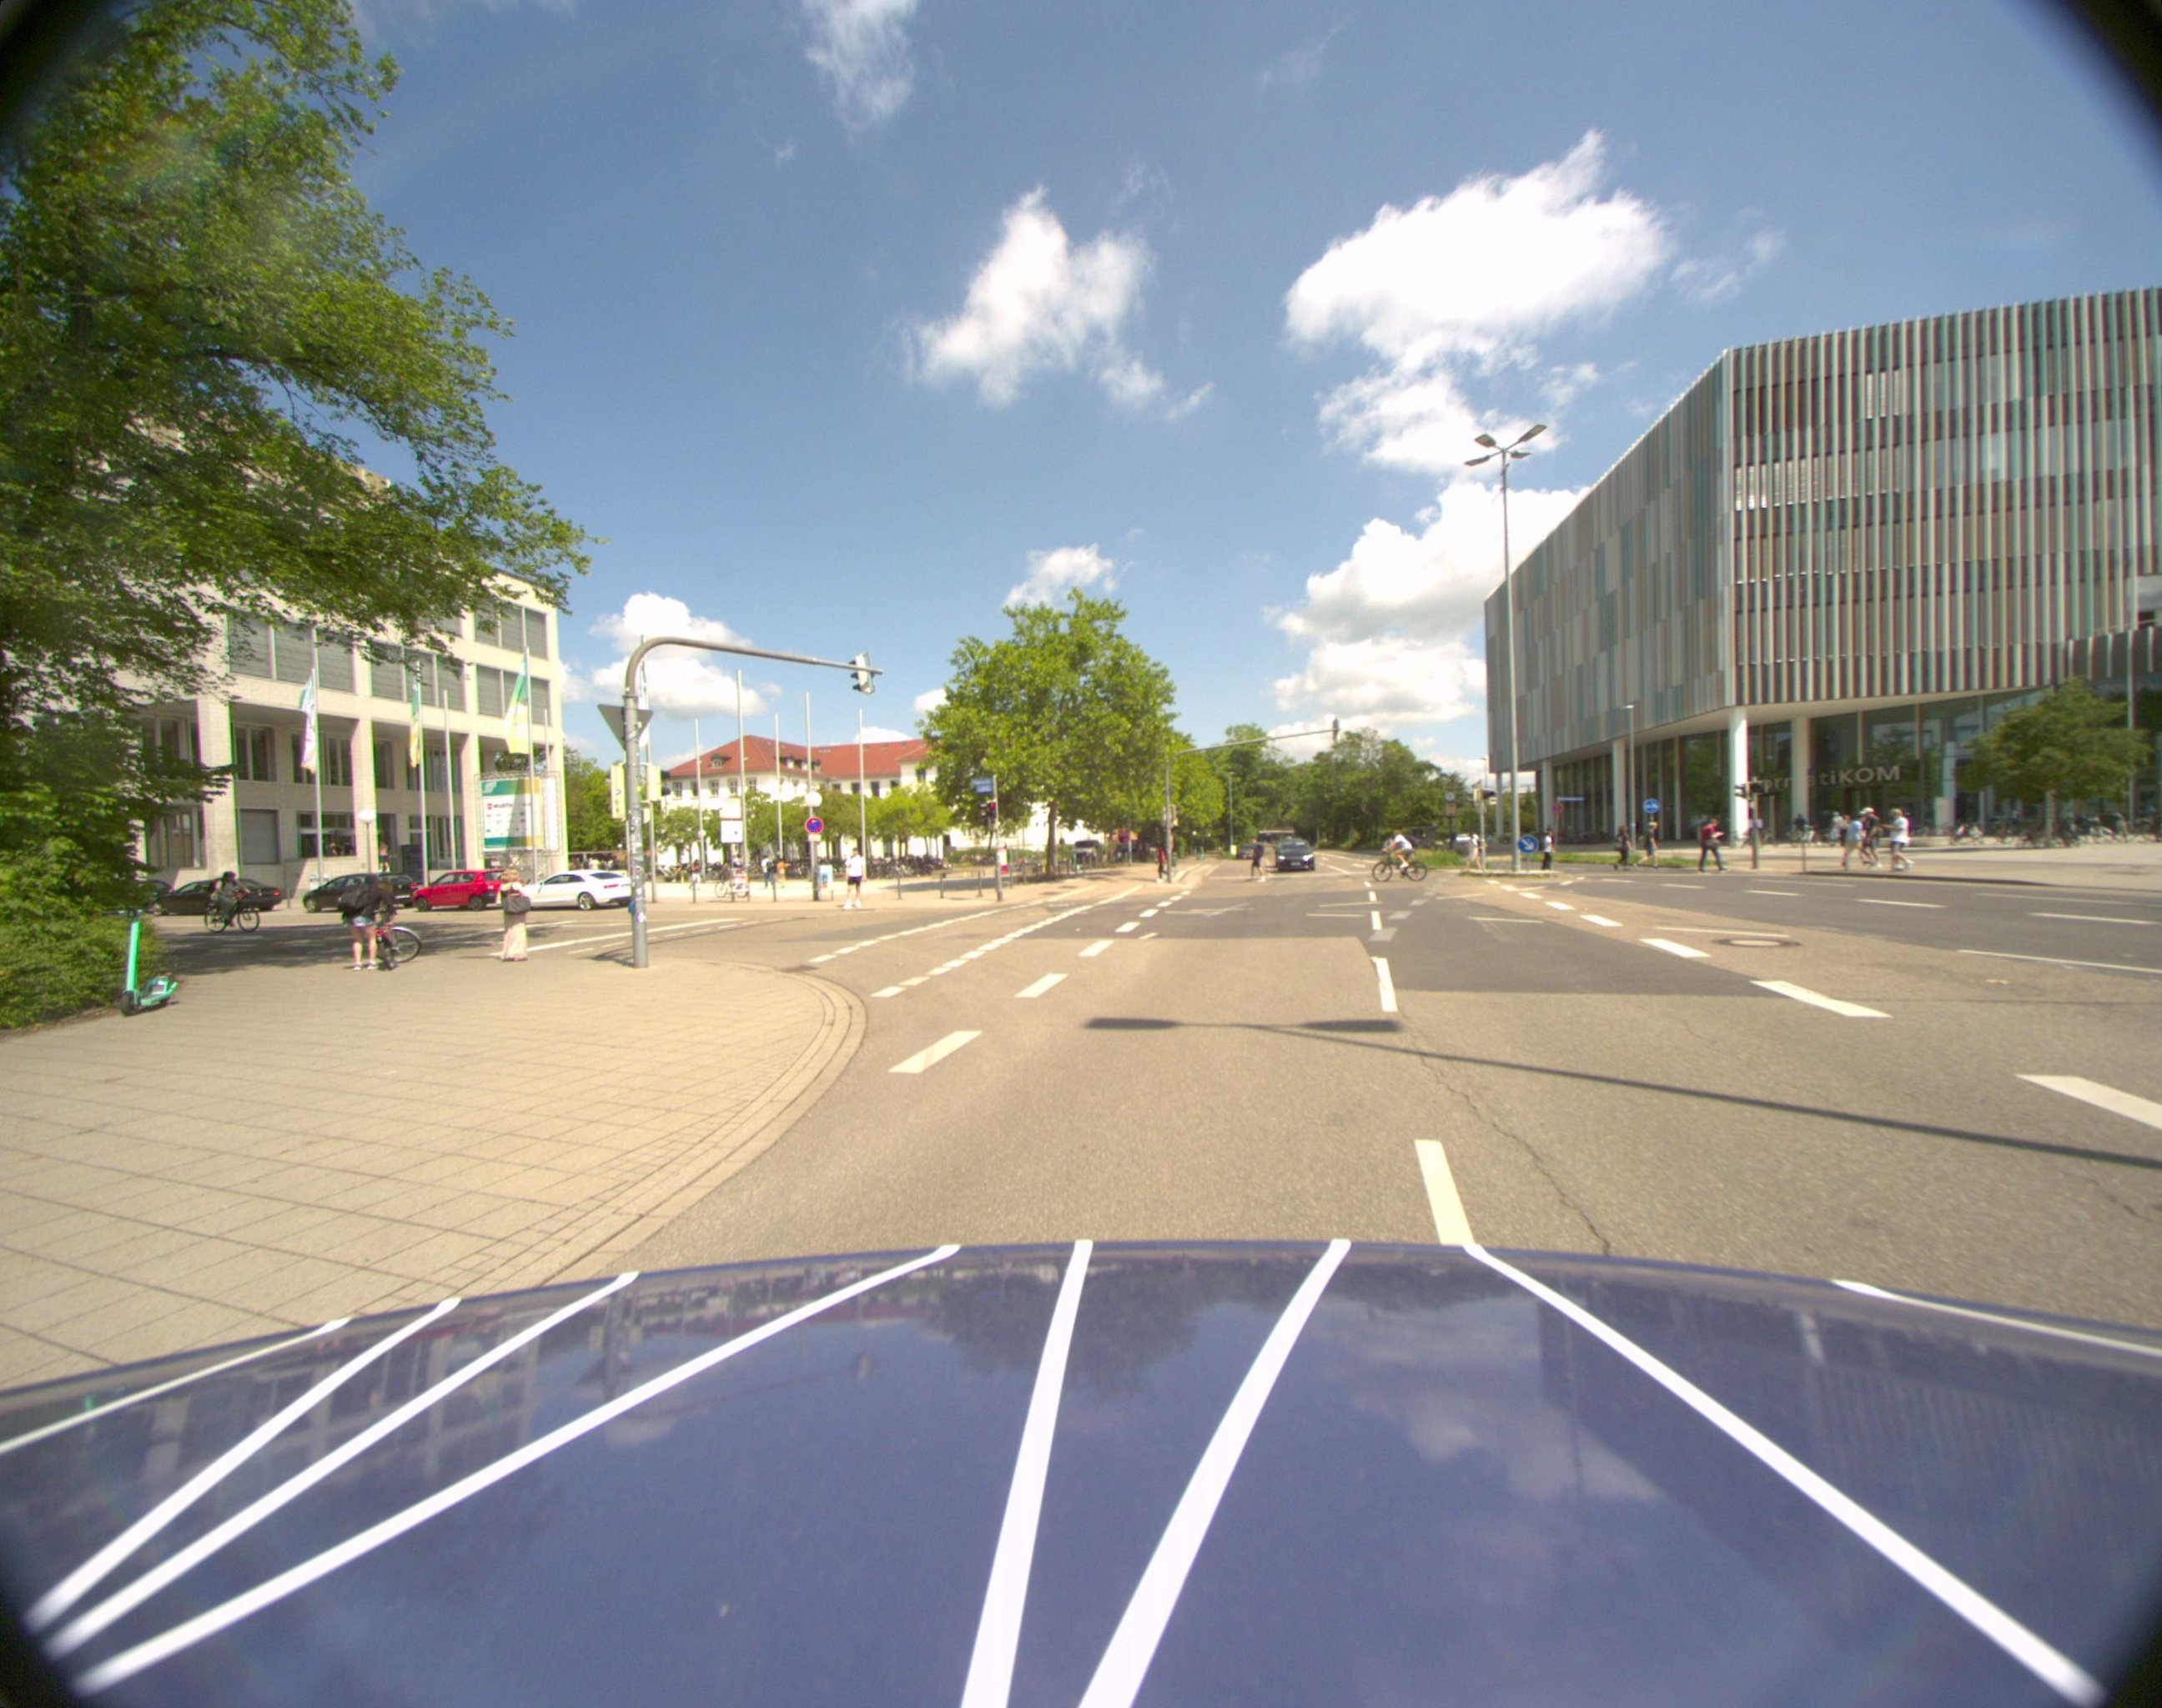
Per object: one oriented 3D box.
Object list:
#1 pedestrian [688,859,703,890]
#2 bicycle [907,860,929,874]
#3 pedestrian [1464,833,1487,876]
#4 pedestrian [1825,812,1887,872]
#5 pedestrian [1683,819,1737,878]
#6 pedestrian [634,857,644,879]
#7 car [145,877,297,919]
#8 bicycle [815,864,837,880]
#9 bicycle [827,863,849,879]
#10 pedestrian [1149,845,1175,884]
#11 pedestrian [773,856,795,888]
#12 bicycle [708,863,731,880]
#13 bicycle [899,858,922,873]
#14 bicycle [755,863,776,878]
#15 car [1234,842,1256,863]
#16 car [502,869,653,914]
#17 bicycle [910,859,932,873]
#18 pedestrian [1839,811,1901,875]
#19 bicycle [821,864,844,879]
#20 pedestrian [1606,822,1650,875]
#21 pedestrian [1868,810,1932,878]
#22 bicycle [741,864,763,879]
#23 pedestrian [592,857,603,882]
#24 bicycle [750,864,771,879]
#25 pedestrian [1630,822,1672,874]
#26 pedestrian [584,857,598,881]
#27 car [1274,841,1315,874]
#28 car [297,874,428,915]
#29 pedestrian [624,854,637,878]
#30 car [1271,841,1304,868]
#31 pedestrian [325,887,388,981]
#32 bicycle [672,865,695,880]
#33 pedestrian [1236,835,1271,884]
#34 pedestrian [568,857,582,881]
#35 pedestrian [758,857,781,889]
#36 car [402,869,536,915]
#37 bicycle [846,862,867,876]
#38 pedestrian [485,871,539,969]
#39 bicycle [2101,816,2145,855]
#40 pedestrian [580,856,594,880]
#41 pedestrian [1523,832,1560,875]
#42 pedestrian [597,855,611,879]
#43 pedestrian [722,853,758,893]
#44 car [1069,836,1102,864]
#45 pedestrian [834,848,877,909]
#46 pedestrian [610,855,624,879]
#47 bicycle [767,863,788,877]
[{"bbox_3d":[-20.114,1.074,39.646,0.539,1.581,0.435,-3,1,-38],"label":"pedestrian"},{"bbox_3d":[-11.303,0.880,52.582,1.410,0.945,0.352,-2,1,10],"label":"bicycle"},{"bbox_3d":[14.213,0.023,27.366,0.590,1.495,0.416,-2,1,-3],"label":"pedestrian"},{"bbox_3d":[25.714,-0.392,25.221,1.107,1.915,0.973,-2,1,20],"label":"pedestrian"},{"bbox_3d":[21.284,-0.180,25.732,1.107,1.915,0.973,-2,1,19],"label":"pedestrian"},{"bbox_3d":[-31.753,0.983,54.615,0.474,1.527,0.561,-3,2,-37],"label":"pedestrian"},{"bbox_3d":[-34.664,1.757,30.668,4.394,1.432,2.003,-2,1,10],"label":"car"},{"bbox_3d":[-16.068,1.130,47.879,1.369,0.945,0.352,-2,1,19],"label":"bicycle"},{"bbox_3d":[-15.603,1.082,48.785,1.369,0.945,0.352,-2,1,19],"label":"bicycle"},{"bbox_3d":[3.477,0.450,32.578,1.062,1.588,0.972,-2,1,7],"label":"pedestrian"},{"bbox_3d":[-15.507,0.946,39.678,0.833,1.613,0.686,-1,2,39],"label":"pedestrian"},{"bbox_3d":[-23.585,1.137,49.577,1.370,1.068,0.352,-2,1,4],"label":"bicycle"},{"bbox_3d":[-11.537,0.778,51.438,1.410,0.945,0.352,-2,1,10],"label":"bicycle"},{"bbox_3d":[-20.871,1.111,50.280,1.369,0.945,0.352,-2,1,19],"label":"bicycle"},{"bbox_3d":[15.241,-0.172,70.525,1.910,1.772,4.003,-2,1,12],"label":"car"},{"bbox_3d":[-17.955,1.331,27.177,4.435,1.389,1.835,-2,1,11],"label":"car"},{"bbox_3d":[-11.188,0.864,53.071,1.410,0.945,0.352,-2,1,10],"label":"bicycle"},{"bbox_3d":[24.292,-0.343,23.417,1.106,1.915,0.974,-2,1,34],"label":"pedestrian"},{"bbox_3d":[-15.777,1.125,48.251,1.369,0.945,0.352,-2,1,19],"label":"bicycle"},{"bbox_3d":[20.320,-0.201,28.250,0.878,1.915,0.971,-2,1,-4],"label":"pedestrian"},{"bbox_3d":[23.809,-0.284,22.115,1.106,1.915,0.974,-1,1,38],"label":"pedestrian"},{"bbox_3d":[-21.289,1.155,49.163,1.369,0.945,0.352,-2,1,19],"label":"bicycle"},{"bbox_3d":[-33.780,1.060,53.075,0.473,1.704,0.382,-3,2,-18],"label":"pedestrian"},{"bbox_3d":[-21.007,1.128,49.784,1.369,0.945,0.352,-2,1,19],"label":"bicycle"},{"bbox_3d":[21.896,-0.224,29.210,0.878,1.915,0.972,-2,1,6],"label":"pedestrian"},{"bbox_3d":[-39.367,1.171,61.019,0.676,1.892,0.801,-3,2,-19],"label":"pedestrian"},{"bbox_3d":[11.026,0.161,39.487,1.844,1.593,4.004,-2,1,13],"label":"car"},{"bbox_3d":[-27.990,1.571,29.633,3.923,1.439,1.744,-2,1,13],"label":"car"},{"bbox_3d":[-37.185,0.987,62.676,0.676,1.892,0.801,-3,2,-19],"label":"pedestrian"},{"bbox_3d":[12.941,0.003,47.852,1.844,1.528,4.004,-2,1,13],"label":"car"},{"bbox_3d":[-11.504,1.244,12.083,0.657,1.408,0.786,0,-1,-39],"label":"pedestrian"},{"bbox_3d":[-26.628,1.246,50.880,1.370,0.945,0.352,-2,1,4],"label":"bicycle"},{"bbox_3d":[7.011,0.227,30.856,1.029,1.915,0.974,-1,1,37],"label":"pedestrian"},{"bbox_3d":[-40.496,1.217,60.803,0.676,1.892,0.801,-3,2,-19],"label":"pedestrian"},{"bbox_3d":[-15.972,0.972,38.966,0.833,1.613,0.686,-1,2,42],"label":"pedestrian"},{"bbox_3d":[-22.869,1.403,28.459,3.811,1.548,1.774,-2,1,10],"label":"car"},{"bbox_3d":[-15.504,1.016,52.464,1.370,0.945,0.352,-2,1,7],"label":"bicycle"},{"bbox_3d":[-9.829,1.113,13.123,0.646,1.617,0.634,-3,2,-39],"label":"pedestrian"},{"bbox_3d":[43.626,-0.799,31.843,3.421,1.543,0.997,-2,1,-38],"label":"bicycle"},{"bbox_3d":[-39.527,1.112,60.807,0.676,1.892,0.801,-3,2,-19],"label":"pedestrian"},{"bbox_3d":[18.113,-0.018,29.907,0.878,1.619,0.972,-2,1,8],"label":"pedestrian"},{"bbox_3d":[-38.522,1.044,61.347,0.676,1.892,0.801,-3,2,-19],"label":"pedestrian"},{"bbox_3d":[-16.426,0.926,36.608,1.319,1.838,0.701,-3,1,13],"label":"pedestrian"},{"bbox_3d":[0.361,-0.291,59.313,1.997,2.043,4.231,-2,1,7],"label":"car"},{"bbox_3d":[-7.152,0.768,24.159,0.877,1.862,0.972,-2,1,11],"label":"pedestrian"},{"bbox_3d":[-37.640,1.025,61.641,0.676,1.892,0.801,-3,2,-19],"label":"pedestrian"},{"bbox_3d":[-20.937,1.098,52.404,1.369,0.945,0.352,-2,1,19],"label":"bicycle"}]
